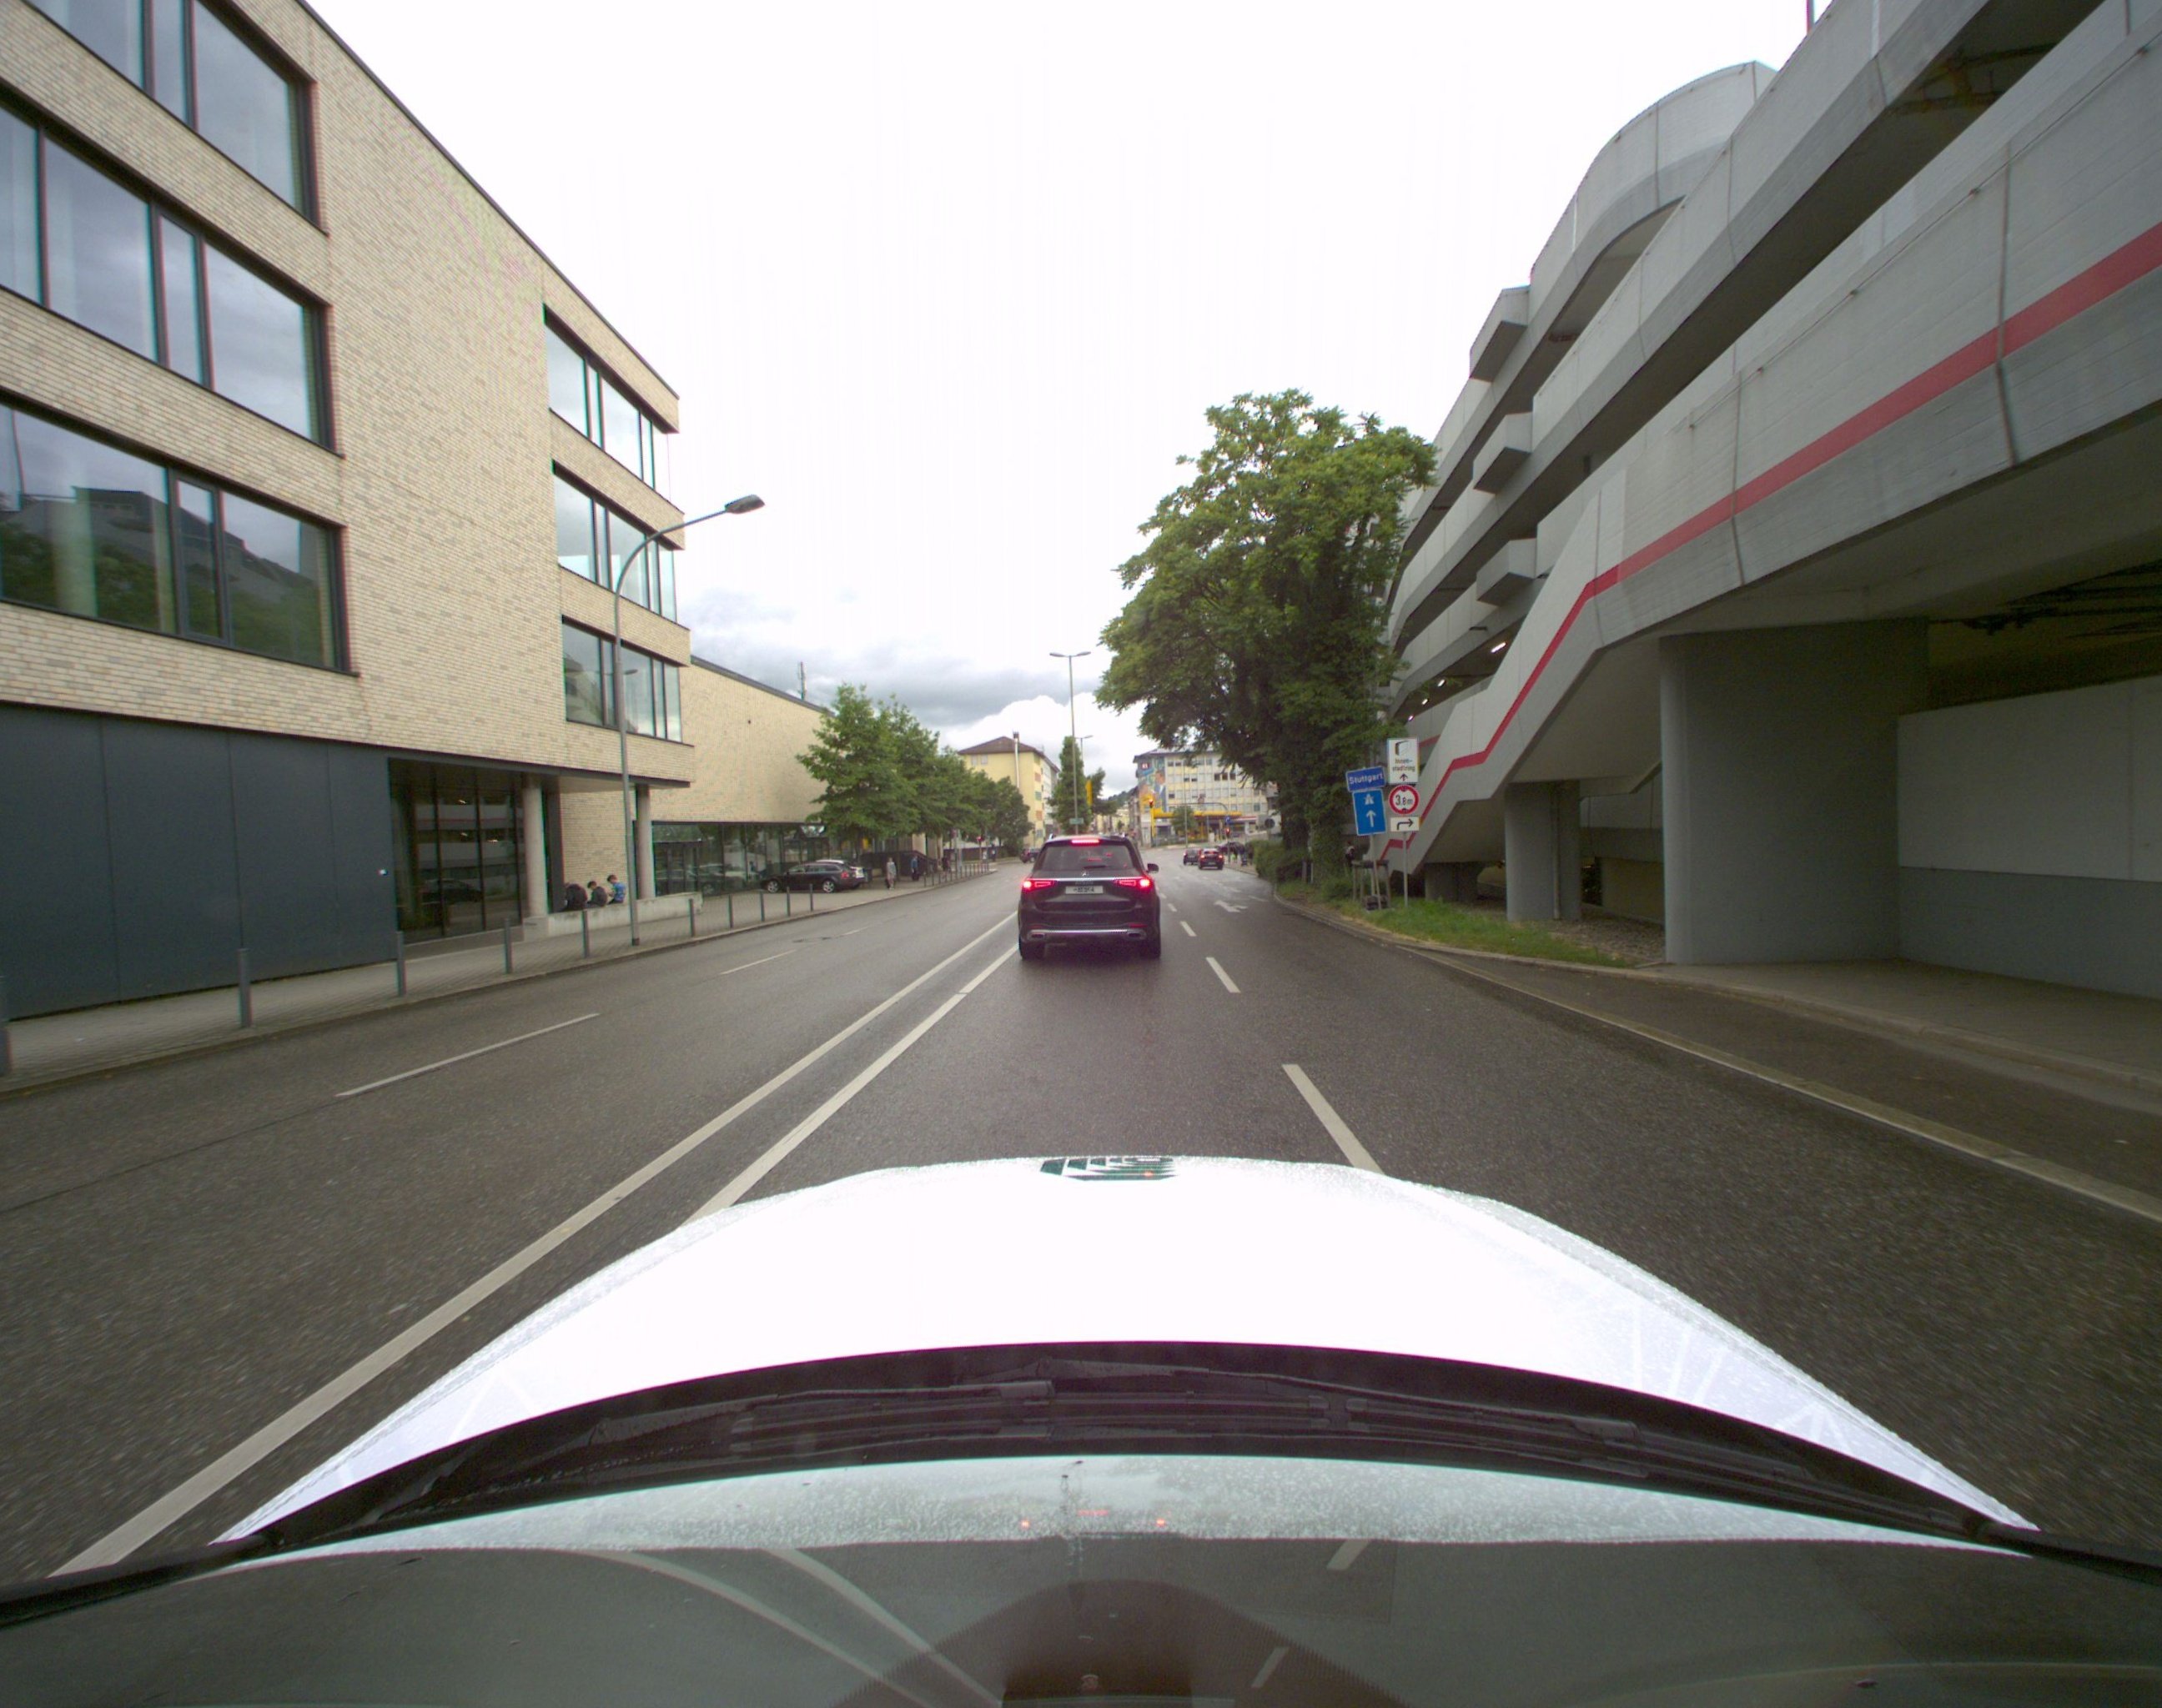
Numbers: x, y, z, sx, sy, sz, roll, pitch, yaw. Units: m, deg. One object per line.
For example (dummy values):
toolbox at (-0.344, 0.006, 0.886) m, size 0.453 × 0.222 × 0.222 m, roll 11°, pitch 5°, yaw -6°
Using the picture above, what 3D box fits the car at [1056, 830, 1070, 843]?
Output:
car at (-2.835, -2.807, 129.472) m, size 1.986 × 1.875 × 5.143 m, roll 0°, pitch -1°, yaw 1°

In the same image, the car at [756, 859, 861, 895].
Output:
car at (-13.264, 1.101, 39.839) m, size 4.459 × 1.587 × 1.997 m, roll -1°, pitch 0°, yaw -4°

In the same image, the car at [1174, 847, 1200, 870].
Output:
car at (9.460, 0.437, 73.018) m, size 1.985 × 2.014 × 4.003 m, roll 0°, pitch -1°, yaw 3°

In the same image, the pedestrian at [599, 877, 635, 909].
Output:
pedestrian at (-12.971, 1.089, 22.778) m, size 0.678 × 0.886 × 0.525 m, roll 0°, pitch -1°, yaw 2°

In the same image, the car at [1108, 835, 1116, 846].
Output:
car at (7.281, -3.166, 190.859) m, size 1.986 × 2.011 × 4.007 m, roll 0°, pitch 11°, yaw 2°

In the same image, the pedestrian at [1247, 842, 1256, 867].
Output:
pedestrian at (13.525, 0.040, 64.668) m, size 0.618 × 1.935 × 0.610 m, roll 0°, pitch -1°, yaw 1°

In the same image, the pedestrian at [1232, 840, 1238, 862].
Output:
pedestrian at (13.908, -0.266, 73.616) m, size 0.517 × 1.911 × 0.556 m, roll 0°, pitch -1°, yaw 3°

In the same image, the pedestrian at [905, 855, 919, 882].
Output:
pedestrian at (-10.782, 0.914, 51.924) m, size 0.686 × 1.726 × 0.754 m, roll 0°, pitch -2°, yaw 1°

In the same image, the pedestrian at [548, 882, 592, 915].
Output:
pedestrian at (-12.976, 1.119, 20.690) m, size 0.595 × 0.786 × 0.761 m, roll 0°, pitch -1°, yaw 3°

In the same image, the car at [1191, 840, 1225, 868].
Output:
car at (9.510, -0.028, 61.239) m, size 1.986 × 2.013 × 4.001 m, roll -1°, pitch 0°, yaw 1°

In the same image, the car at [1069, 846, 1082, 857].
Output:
car at (-1.082, -0.478, 152.471) m, size 1.992 × 2.014 × 3.990 m, roll 0°, pitch -1°, yaw -7°

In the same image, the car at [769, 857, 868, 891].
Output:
car at (-13.464, 1.014, 41.961) m, size 4.405 × 1.573 × 1.999 m, roll -1°, pitch 2°, yaw -3°

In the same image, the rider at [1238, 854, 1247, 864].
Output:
rider at (12.574, 0.386, 63.247) m, size 0.689 × 0.740 × 0.634 m, roll 0°, pitch -1°, yaw 11°

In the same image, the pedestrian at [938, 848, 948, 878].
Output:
pedestrian at (-9.519, 0.605, 56.161) m, size 0.585 × 2.014 × 0.749 m, roll 0°, pitch -1°, yaw 1°

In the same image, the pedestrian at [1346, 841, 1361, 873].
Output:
pedestrian at (12.717, 0.152, 38.064) m, size 0.578 × 1.501 × 0.505 m, roll 0°, pitch -1°, yaw 8°

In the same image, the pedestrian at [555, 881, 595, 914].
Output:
pedestrian at (-13.378, 1.139, 21.541) m, size 0.584 × 0.845 × 0.728 m, roll -1°, pitch -1°, yaw 3°

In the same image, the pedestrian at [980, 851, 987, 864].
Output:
pedestrian at (-11.065, 0.441, 92.469) m, size 0.708 × 1.462 × 0.598 m, roll 0°, pitch -1°, yaw 1°

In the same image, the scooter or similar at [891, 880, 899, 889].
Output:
scooter or similar at (-9.948, 1.630, 43.550) m, size 0.279 × 0.501 × 0.616 m, roll 0°, pitch -1°, yaw 1°

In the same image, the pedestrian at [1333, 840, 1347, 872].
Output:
pedestrian at (12.133, 0.095, 38.220) m, size 0.548 × 1.532 × 0.489 m, roll 0°, pitch -1°, yaw 9°

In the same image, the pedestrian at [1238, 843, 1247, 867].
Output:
pedestrian at (12.673, 0.090, 64.037) m, size 0.658 × 1.917 × 0.731 m, roll 0°, pitch -1°, yaw 13°

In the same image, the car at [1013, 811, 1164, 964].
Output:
car at (0.157, 0.459, 12.775) m, size 1.986 × 2.014 × 4.001 m, roll 0°, pitch -1°, yaw 2°

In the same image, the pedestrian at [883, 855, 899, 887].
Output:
pedestrian at (-10.071, 0.903, 43.128) m, size 0.673 × 1.696 × 0.479 m, roll 0°, pitch 2°, yaw 2°

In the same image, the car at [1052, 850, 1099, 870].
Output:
car at (-0.582, 0.625, 86.336) m, size 4.797 × 2.013 × 1.997 m, roll -2°, pitch 0°, yaw -5°

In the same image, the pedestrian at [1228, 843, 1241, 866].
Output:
pedestrian at (13.713, 0.055, 72.670) m, size 1.021 × 2.013 × 0.999 m, roll 0°, pitch 0°, yaw 1°
